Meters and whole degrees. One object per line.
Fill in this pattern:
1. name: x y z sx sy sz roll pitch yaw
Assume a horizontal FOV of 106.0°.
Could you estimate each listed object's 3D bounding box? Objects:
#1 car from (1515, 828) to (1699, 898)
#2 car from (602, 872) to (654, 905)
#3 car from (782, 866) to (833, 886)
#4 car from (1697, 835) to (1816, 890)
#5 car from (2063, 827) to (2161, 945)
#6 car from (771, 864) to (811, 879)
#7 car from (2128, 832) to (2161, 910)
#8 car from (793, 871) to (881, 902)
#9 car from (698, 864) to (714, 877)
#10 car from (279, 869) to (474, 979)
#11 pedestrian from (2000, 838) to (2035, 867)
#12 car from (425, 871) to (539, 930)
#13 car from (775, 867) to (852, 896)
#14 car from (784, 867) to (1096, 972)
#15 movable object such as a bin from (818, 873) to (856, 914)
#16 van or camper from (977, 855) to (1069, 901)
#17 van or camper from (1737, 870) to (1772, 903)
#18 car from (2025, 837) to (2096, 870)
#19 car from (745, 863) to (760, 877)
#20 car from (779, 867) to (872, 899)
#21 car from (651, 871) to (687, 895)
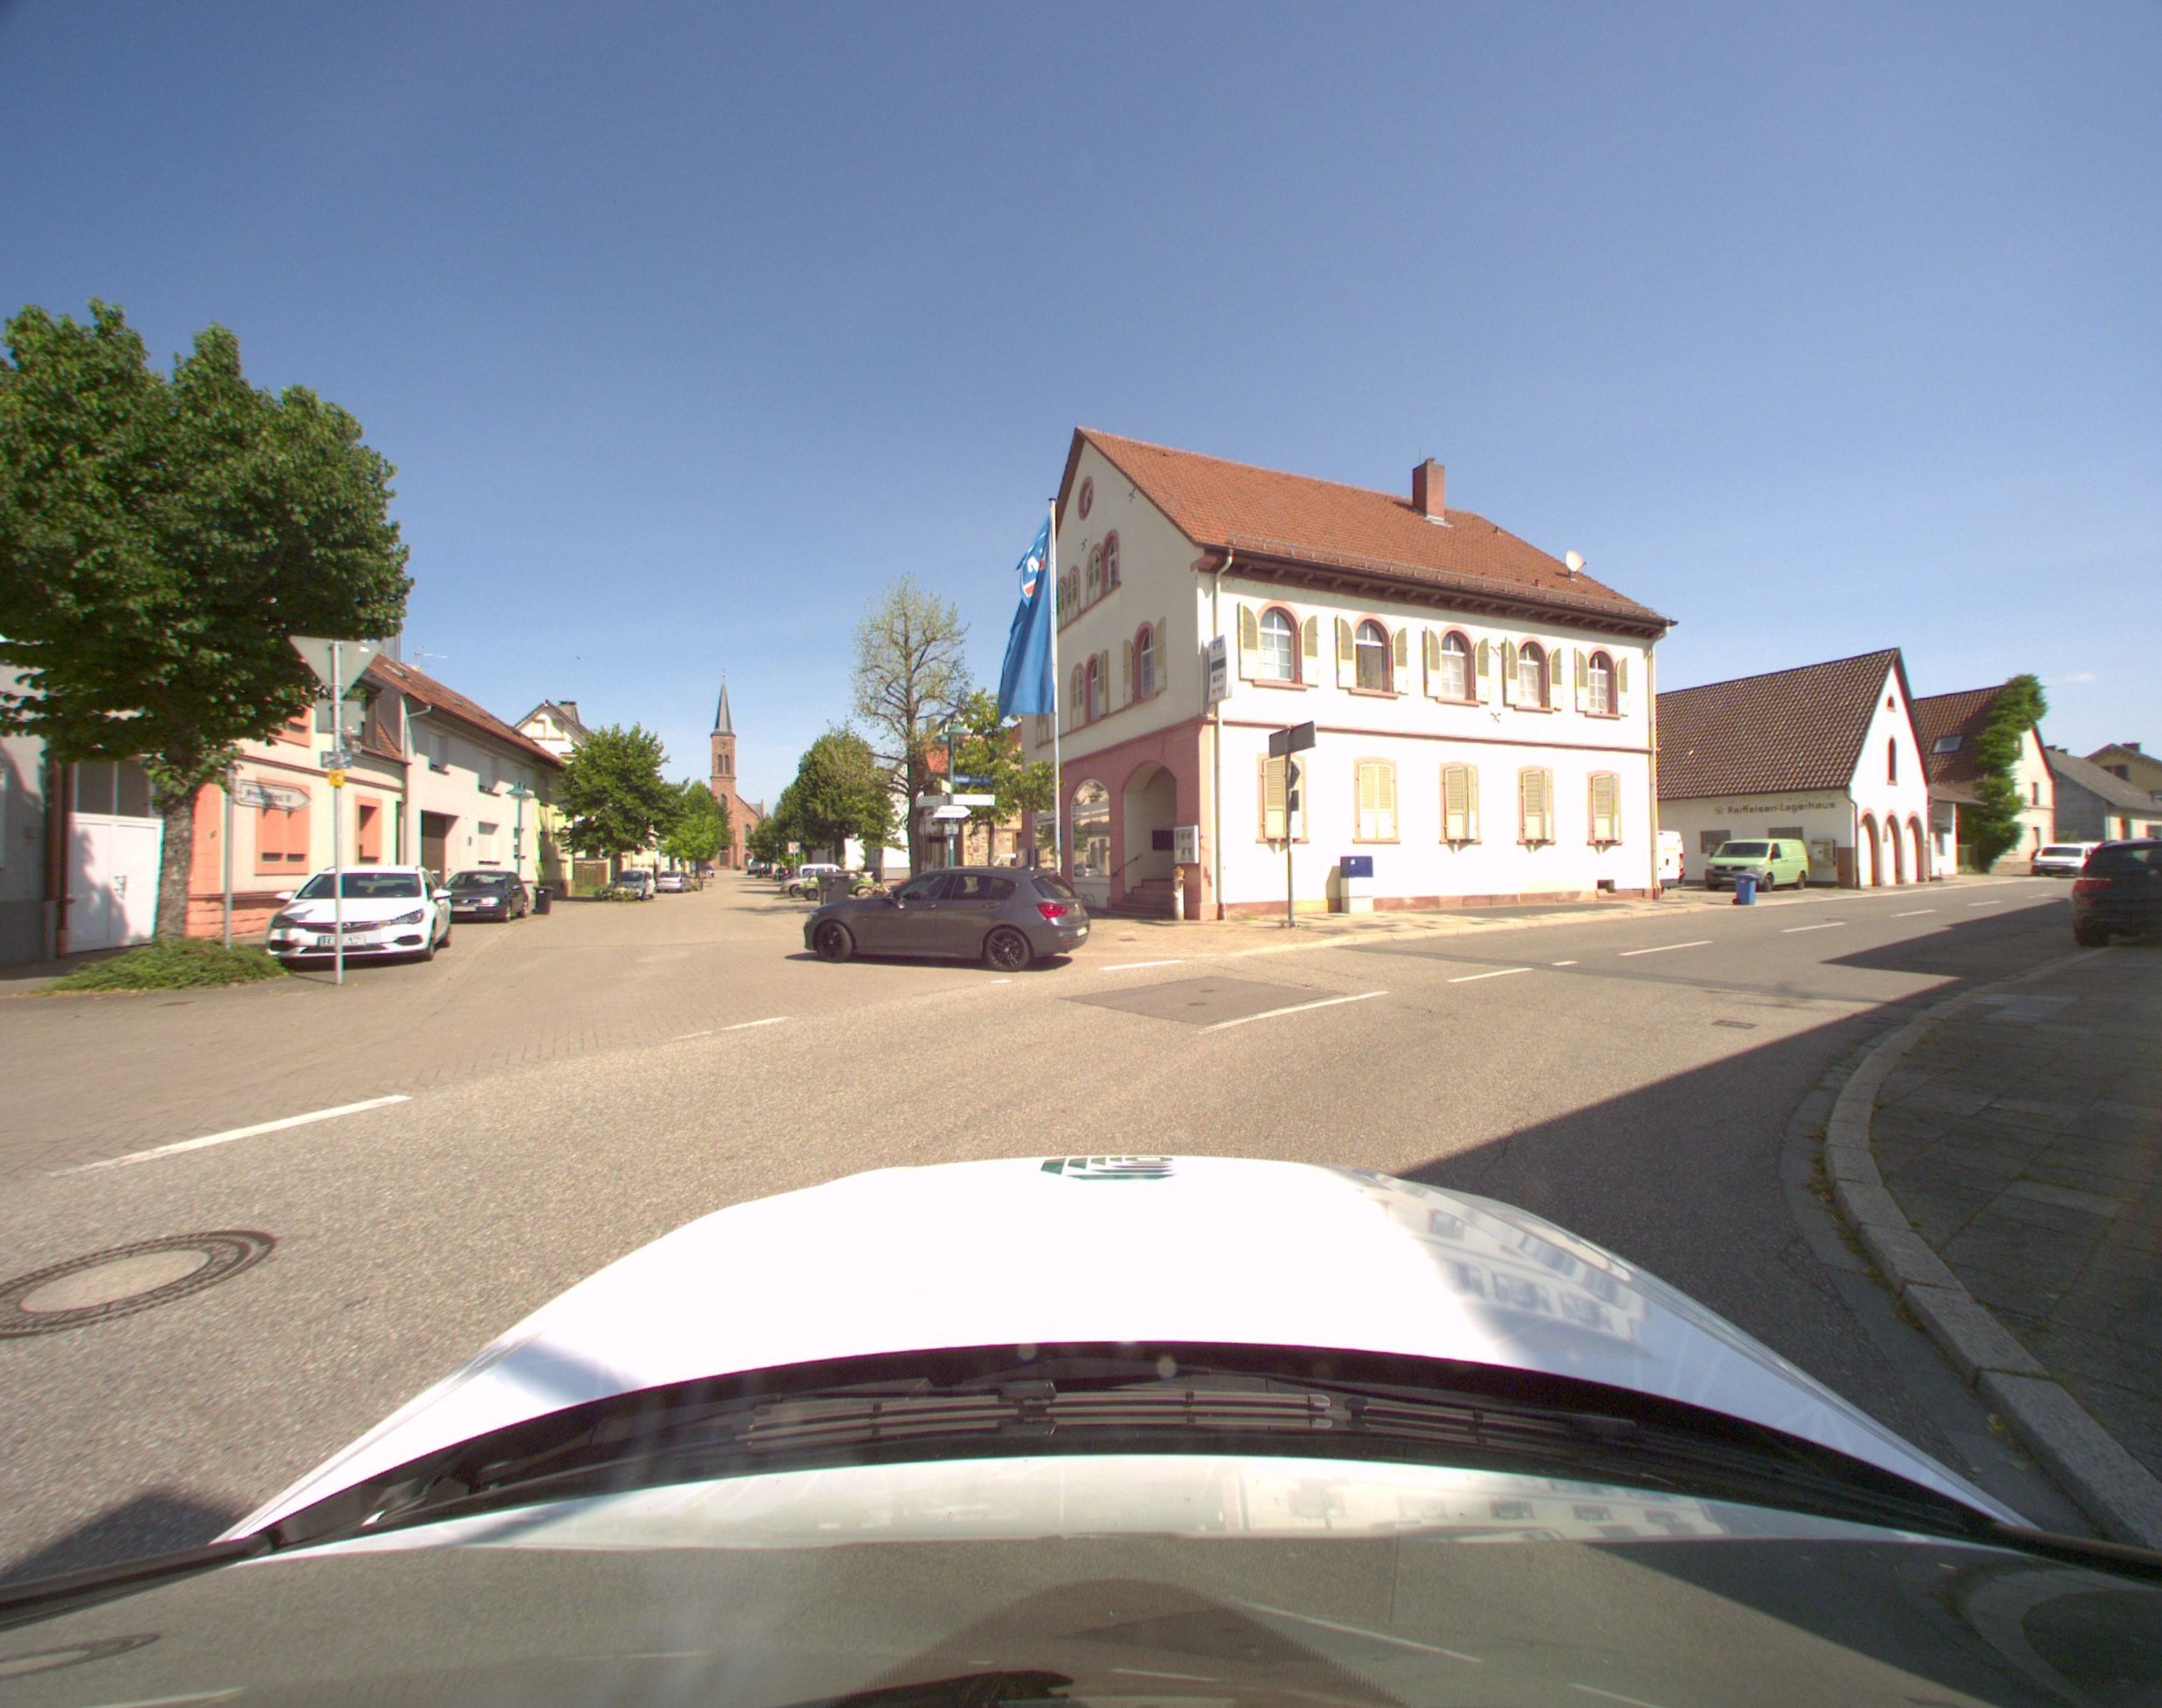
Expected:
1. car: 18.213 0.276 28.545 2.123 2.197 5.157 -1 0 -20
2. car: -23.831 1.773 42.930 2.003 1.574 3.968 -1 -1 -24
3. car: -23.360 1.861 69.496 4.004 1.640 1.985 -1 -1 -23
4. car: 25.773 0.303 31.037 4.683 1.964 1.981 -1 -1 -30
5. car: 17.876 0.421 13.079 5.197 1.703 1.832 -1 -3 -31
6. car: -32.484 1.960 91.168 4.006 1.618 1.984 -1 -1 -25
7. car: 25.751 0.345 18.512 4.262 1.728 1.886 -1 0 -31
8. car: -11.907 1.568 39.716 3.941 1.344 1.985 -1 -1 -23
9. car: -54.448 2.439 118.232 2.004 1.816 3.966 -1 -1 -26
10. car: -11.214 0.979 13.295 1.862 1.440 4.465 -1 -1 -34
11. pedestrian: 51.818 -0.078 45.062 1.020 1.552 1.128 -1 0 -32
12. car: -17.228 1.259 23.690 1.996 1.440 5.162 -1 -1 -29
13. car: -15.690 1.606 47.821 4.168 1.568 1.985 -1 -1 -23
14. car: -2.033 0.900 12.182 4.225 1.376 1.748 0 -1 13
15. movable object such as a bin: -8.177 1.310 27.304 1.191 1.338 0.784 -1 -1 -19
16. van or camper: -2.757 1.100 38.337 3.992 2.014 1.990 -1 -1 -14
17. van or camper: 19.626 0.941 23.742 0.601 0.951 0.586 -1 -1 -26
18. car: 52.249 -0.025 43.440 4.445 1.647 1.842 -1 -1 -32
19. car: -54.681 2.620 135.425 2.254 2.279 4.469 1 -2 -22
20. car: -14.303 1.606 45.626 4.824 1.623 1.985 -1 -1 -23
21. car: -27.112 1.870 53.534 2.005 1.464 3.962 0 -1 -29
